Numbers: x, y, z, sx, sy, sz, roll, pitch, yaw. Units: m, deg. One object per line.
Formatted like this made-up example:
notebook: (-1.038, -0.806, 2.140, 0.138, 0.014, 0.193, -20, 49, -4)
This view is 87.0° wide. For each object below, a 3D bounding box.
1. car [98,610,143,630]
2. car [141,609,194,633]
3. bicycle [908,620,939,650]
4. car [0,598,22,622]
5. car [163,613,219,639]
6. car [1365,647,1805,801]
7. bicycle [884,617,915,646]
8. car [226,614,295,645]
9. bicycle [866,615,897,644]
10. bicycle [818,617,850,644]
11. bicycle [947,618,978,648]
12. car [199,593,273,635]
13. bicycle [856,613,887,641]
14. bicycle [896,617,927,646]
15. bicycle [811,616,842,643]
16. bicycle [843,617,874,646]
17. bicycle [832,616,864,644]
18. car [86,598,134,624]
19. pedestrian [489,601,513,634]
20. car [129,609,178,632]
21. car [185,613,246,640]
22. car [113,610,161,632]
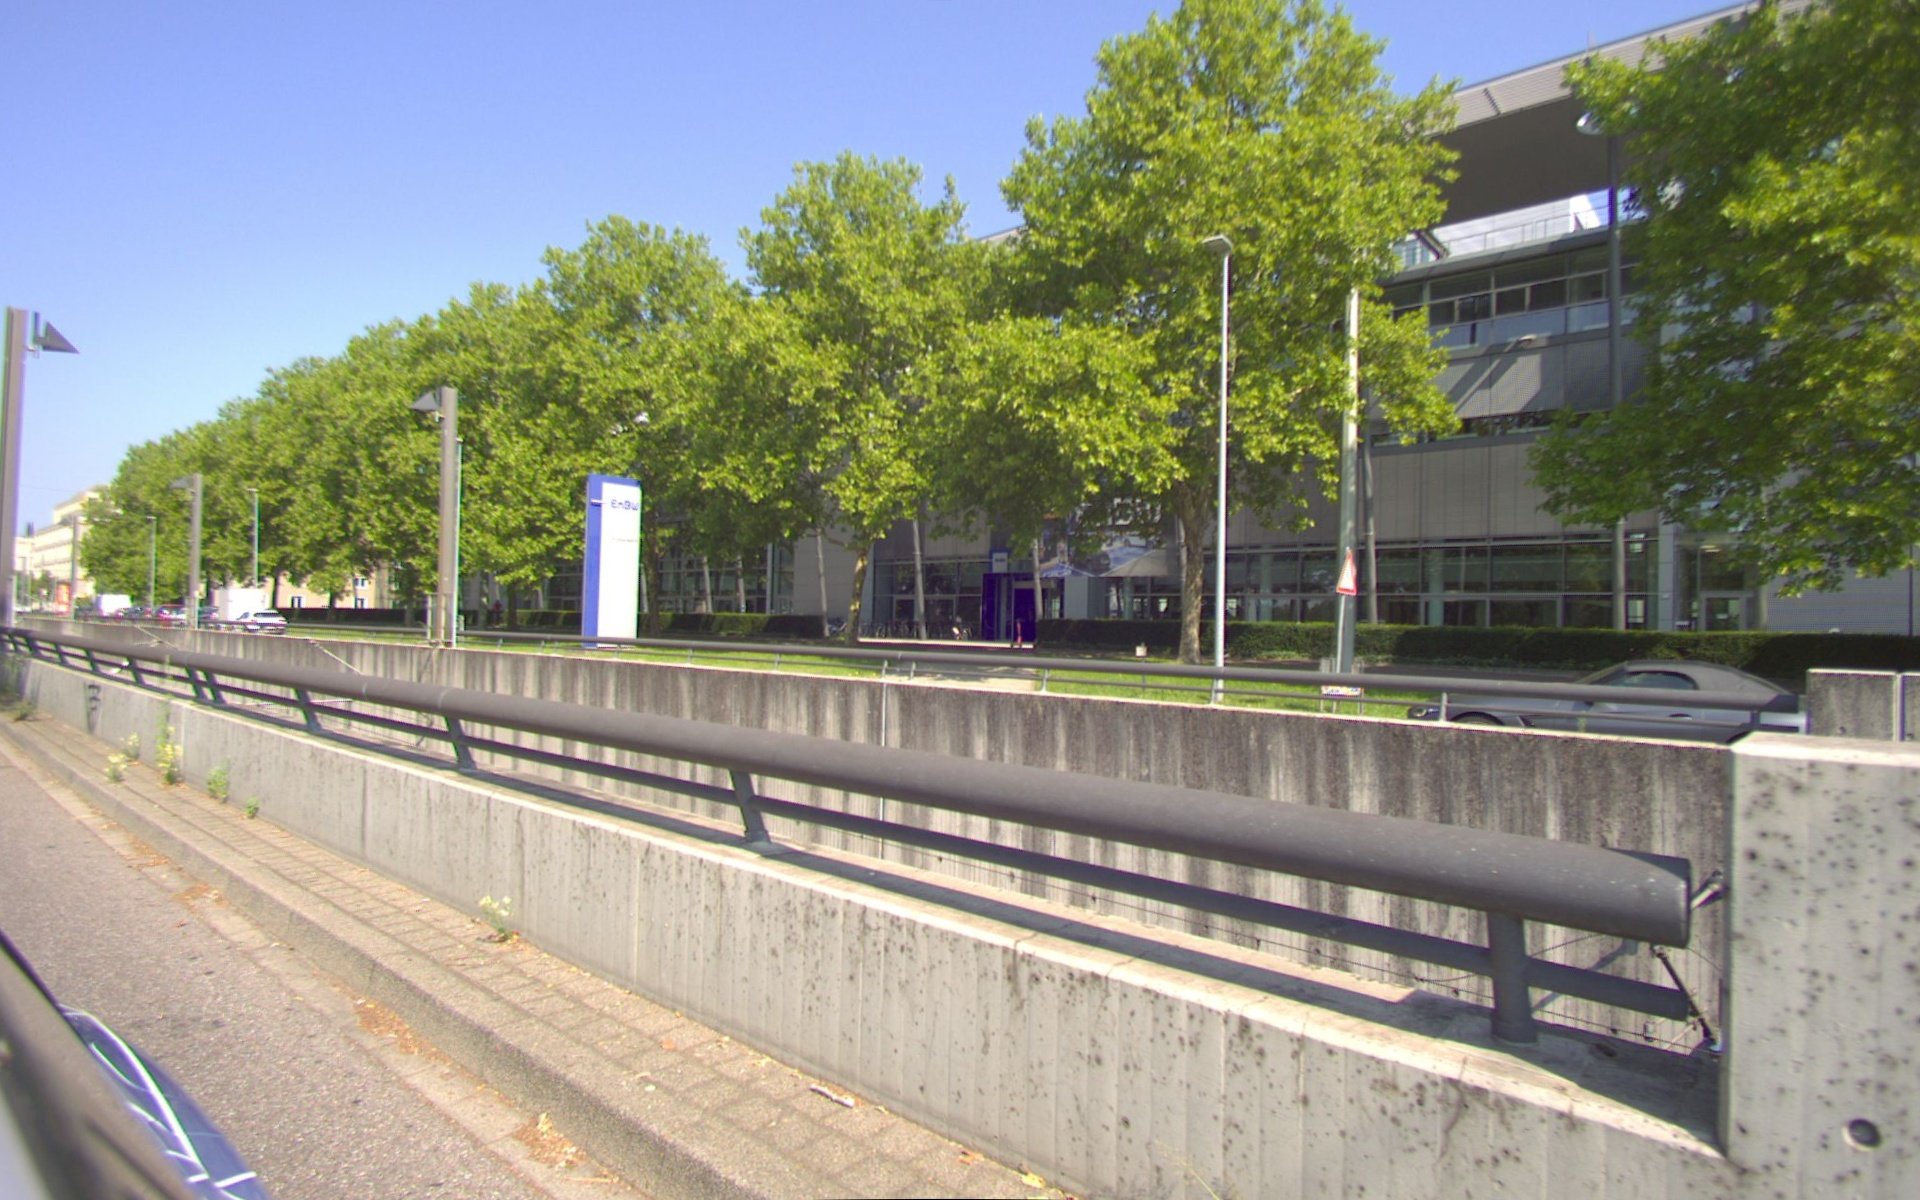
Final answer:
car: (-64.459, 1.543, 77.676, 3.997, 1.464, 1.973, 0, 0, 40)
car: (-52.293, 1.355, 66.775, 3.997, 1.464, 1.973, 0, 0, 40)
bicycle: (-2.047, 1.957, 56.991, 0.599, 1.566, 2.145, 0, 0, 34)
car: (-83.107, 0.884, 87.677, 3.992, 2.029, 1.976, 0, 0, 36)
car: (-47.426, 1.574, 62.407, 3.997, 1.464, 1.973, 0, 0, 40)
car: (6.685, 1.217, 11.082, 3.890, 1.230, 1.640, 0, 0, 39)
bicycle: (-3.473, 1.784, 57.890, 0.599, 1.566, 2.145, 0, 0, 34)
car: (-36.184, 1.494, 52.301, 3.997, 1.464, 1.973, 0, 0, 40)
bicycle: (-4.514, 1.685, 58.350, 0.599, 1.566, 2.145, 0, 0, 34)
bicycle: (-7.490, 1.798, 60.229, 0.599, 1.566, 2.145, 0, 0, 34)
bicycle: (0.167, 1.813, 55.656, 0.599, 1.566, 2.145, 0, 0, 34)
car: (-39.969, 0.746, 55.810, 4.653, 2.250, 2.262, 0, 0, 40)
bicycle: (-5.112, 1.567, 58.717, 0.599, 1.566, 2.145, 0, 0, 34)
bicycle: (-2.755, 1.750, 57.433, 0.599, 1.566, 2.145, 0, 0, 34)
bicycle: (-7.980, 1.749, 60.628, 0.599, 1.566, 2.145, 0, 0, 34)
bicycle: (-5.938, 1.827, 59.169, 0.599, 1.566, 2.145, 0, 0, 34)
bicycle: (-6.593, 1.738, 59.612, 0.599, 1.566, 2.145, 0, 0, 34)
car: (-68.643, 0.865, 81.711, 4.653, 2.095, 2.262, 0, 0, 40)
pedestrian: (-28.903, 1.112, 63.707, 1.349, 2.029, 0.935, 0, 0, 43)
car: (-56.103, 1.403, 70.373, 3.997, 1.464, 1.973, 0, 0, 40)
car: (-43.426, 1.514, 59.000, 3.997, 1.464, 1.973, 0, 0, 40)
car: (-59.748, 1.496, 73.452, 3.997, 1.464, 1.973, 0, 0, 40)
